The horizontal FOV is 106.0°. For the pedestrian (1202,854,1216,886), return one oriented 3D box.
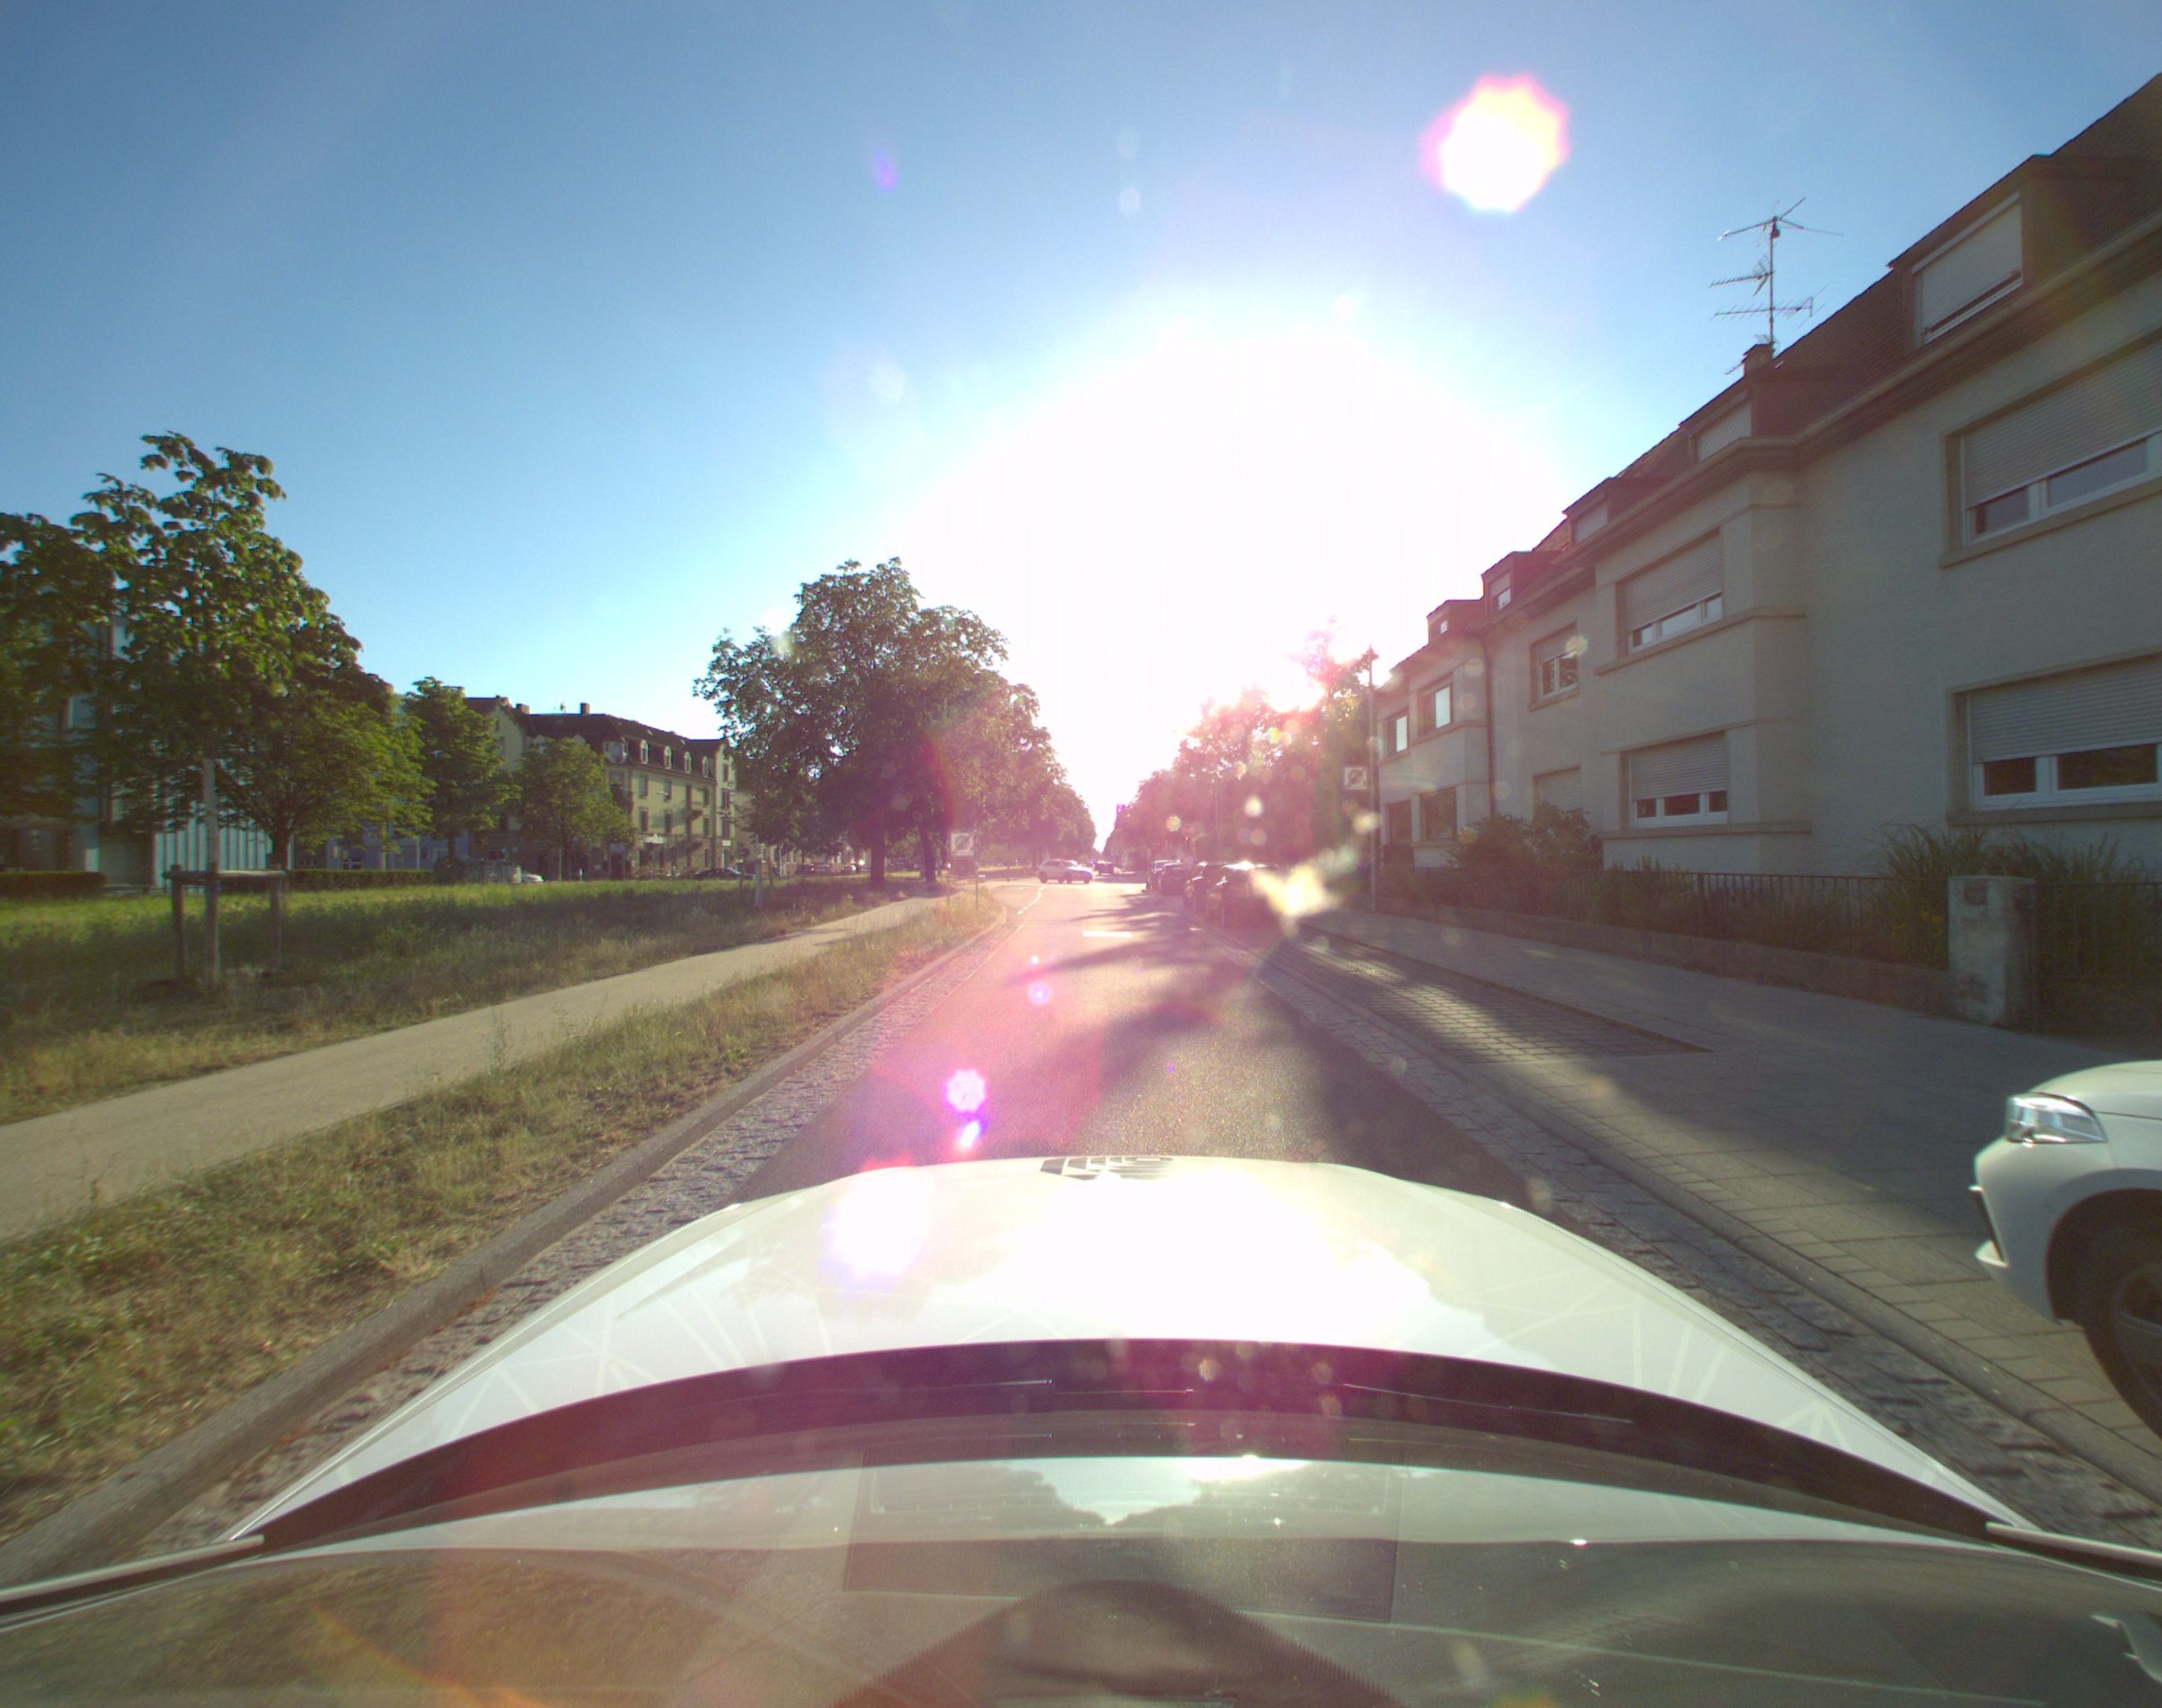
[{"bbox_3d":[6.924,0.876,44.204,0.666,1.708,0.623,0,-1,1],"label":"pedestrian"}]

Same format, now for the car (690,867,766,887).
[{"bbox_3d":[-25.781,1.682,59.610,4.760,1.434,1.810,0,-1,-7],"label":"car"}]

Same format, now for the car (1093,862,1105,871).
[{"bbox_3d":[2.865,1.940,127.484,1.838,1.394,3.830,0,0,2],"label":"car"}]

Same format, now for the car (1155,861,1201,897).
[{"bbox_3d":[4.281,1.080,36.424,1.635,1.427,3.937,-2,0,1],"label":"car"}]

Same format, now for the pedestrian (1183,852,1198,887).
[{"bbox_3d":[5.938,0.843,44.273,0.668,1.865,0.881,0,-1,-2],"label":"pedestrian"}]

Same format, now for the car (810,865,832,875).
[{"bbox_3d":[-39.389,2.386,123.502,1.728,1.427,3.800,0,0,7],"label":"car"}]

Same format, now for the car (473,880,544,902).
[{"bbox_3d":[-40.815,2.604,58.119,3.686,1.488,1.735,0,-1,-10],"label":"car"}]

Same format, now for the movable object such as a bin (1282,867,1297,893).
[{"bbox_3d":[8.476,1.037,33.130,0.506,1.043,0.416,0,-1,-5],"label":"movable object such as a bin"}]

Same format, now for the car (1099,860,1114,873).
[{"bbox_3d":[2.945,1.404,93.424,1.634,1.451,3.310,0,0,4],"label":"car"}]

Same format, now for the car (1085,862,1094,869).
[{"bbox_3d":[2.378,3.204,227.140,2.126,2.014,3.903,0,0,2],"label":"car"}]

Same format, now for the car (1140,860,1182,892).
[{"bbox_3d":[4.170,1.105,42.951,1.852,1.542,4.874,-1,-1,2],"label":"car"}]

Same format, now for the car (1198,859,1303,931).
[{"bbox_3d":[4.001,0.913,19.843,1.712,1.471,3.983,-3,0,0],"label":"car"}]

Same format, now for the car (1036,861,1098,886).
[{"bbox_3d":[-1.029,1.360,57.710,1.908,1.676,4.371,1,-1,-44],"label":"car"}]

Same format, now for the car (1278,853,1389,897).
[{"bbox_3d":[9.538,0.783,30.955,3.621,1.496,1.781,-2,-1,1],"label":"car"}]

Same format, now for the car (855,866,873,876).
[{"bbox_3d":[-33.757,2.623,126.771,1.731,1.427,3.794,0,-1,2],"label":"car"}]

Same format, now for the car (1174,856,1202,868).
[{"bbox_3d":[15.047,1.089,114.451,3.766,1.525,1.744,-1,1,1],"label":"car"}]

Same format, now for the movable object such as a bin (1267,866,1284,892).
[{"bbox_3d":[7.920,1.019,33.148,0.506,1.043,0.658,0,-1,-4],"label":"movable object such as a bin"}]

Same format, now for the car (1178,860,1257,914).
[{"bbox_3d":[4.100,0.956,25.070,1.740,1.474,4.255,-1,0,1],"label":"car"}]

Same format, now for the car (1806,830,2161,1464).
[{"bbox_3d":[3.462,0.687,0.768,1.777,1.507,4.233,-3,0,1],"label":"car"}]
